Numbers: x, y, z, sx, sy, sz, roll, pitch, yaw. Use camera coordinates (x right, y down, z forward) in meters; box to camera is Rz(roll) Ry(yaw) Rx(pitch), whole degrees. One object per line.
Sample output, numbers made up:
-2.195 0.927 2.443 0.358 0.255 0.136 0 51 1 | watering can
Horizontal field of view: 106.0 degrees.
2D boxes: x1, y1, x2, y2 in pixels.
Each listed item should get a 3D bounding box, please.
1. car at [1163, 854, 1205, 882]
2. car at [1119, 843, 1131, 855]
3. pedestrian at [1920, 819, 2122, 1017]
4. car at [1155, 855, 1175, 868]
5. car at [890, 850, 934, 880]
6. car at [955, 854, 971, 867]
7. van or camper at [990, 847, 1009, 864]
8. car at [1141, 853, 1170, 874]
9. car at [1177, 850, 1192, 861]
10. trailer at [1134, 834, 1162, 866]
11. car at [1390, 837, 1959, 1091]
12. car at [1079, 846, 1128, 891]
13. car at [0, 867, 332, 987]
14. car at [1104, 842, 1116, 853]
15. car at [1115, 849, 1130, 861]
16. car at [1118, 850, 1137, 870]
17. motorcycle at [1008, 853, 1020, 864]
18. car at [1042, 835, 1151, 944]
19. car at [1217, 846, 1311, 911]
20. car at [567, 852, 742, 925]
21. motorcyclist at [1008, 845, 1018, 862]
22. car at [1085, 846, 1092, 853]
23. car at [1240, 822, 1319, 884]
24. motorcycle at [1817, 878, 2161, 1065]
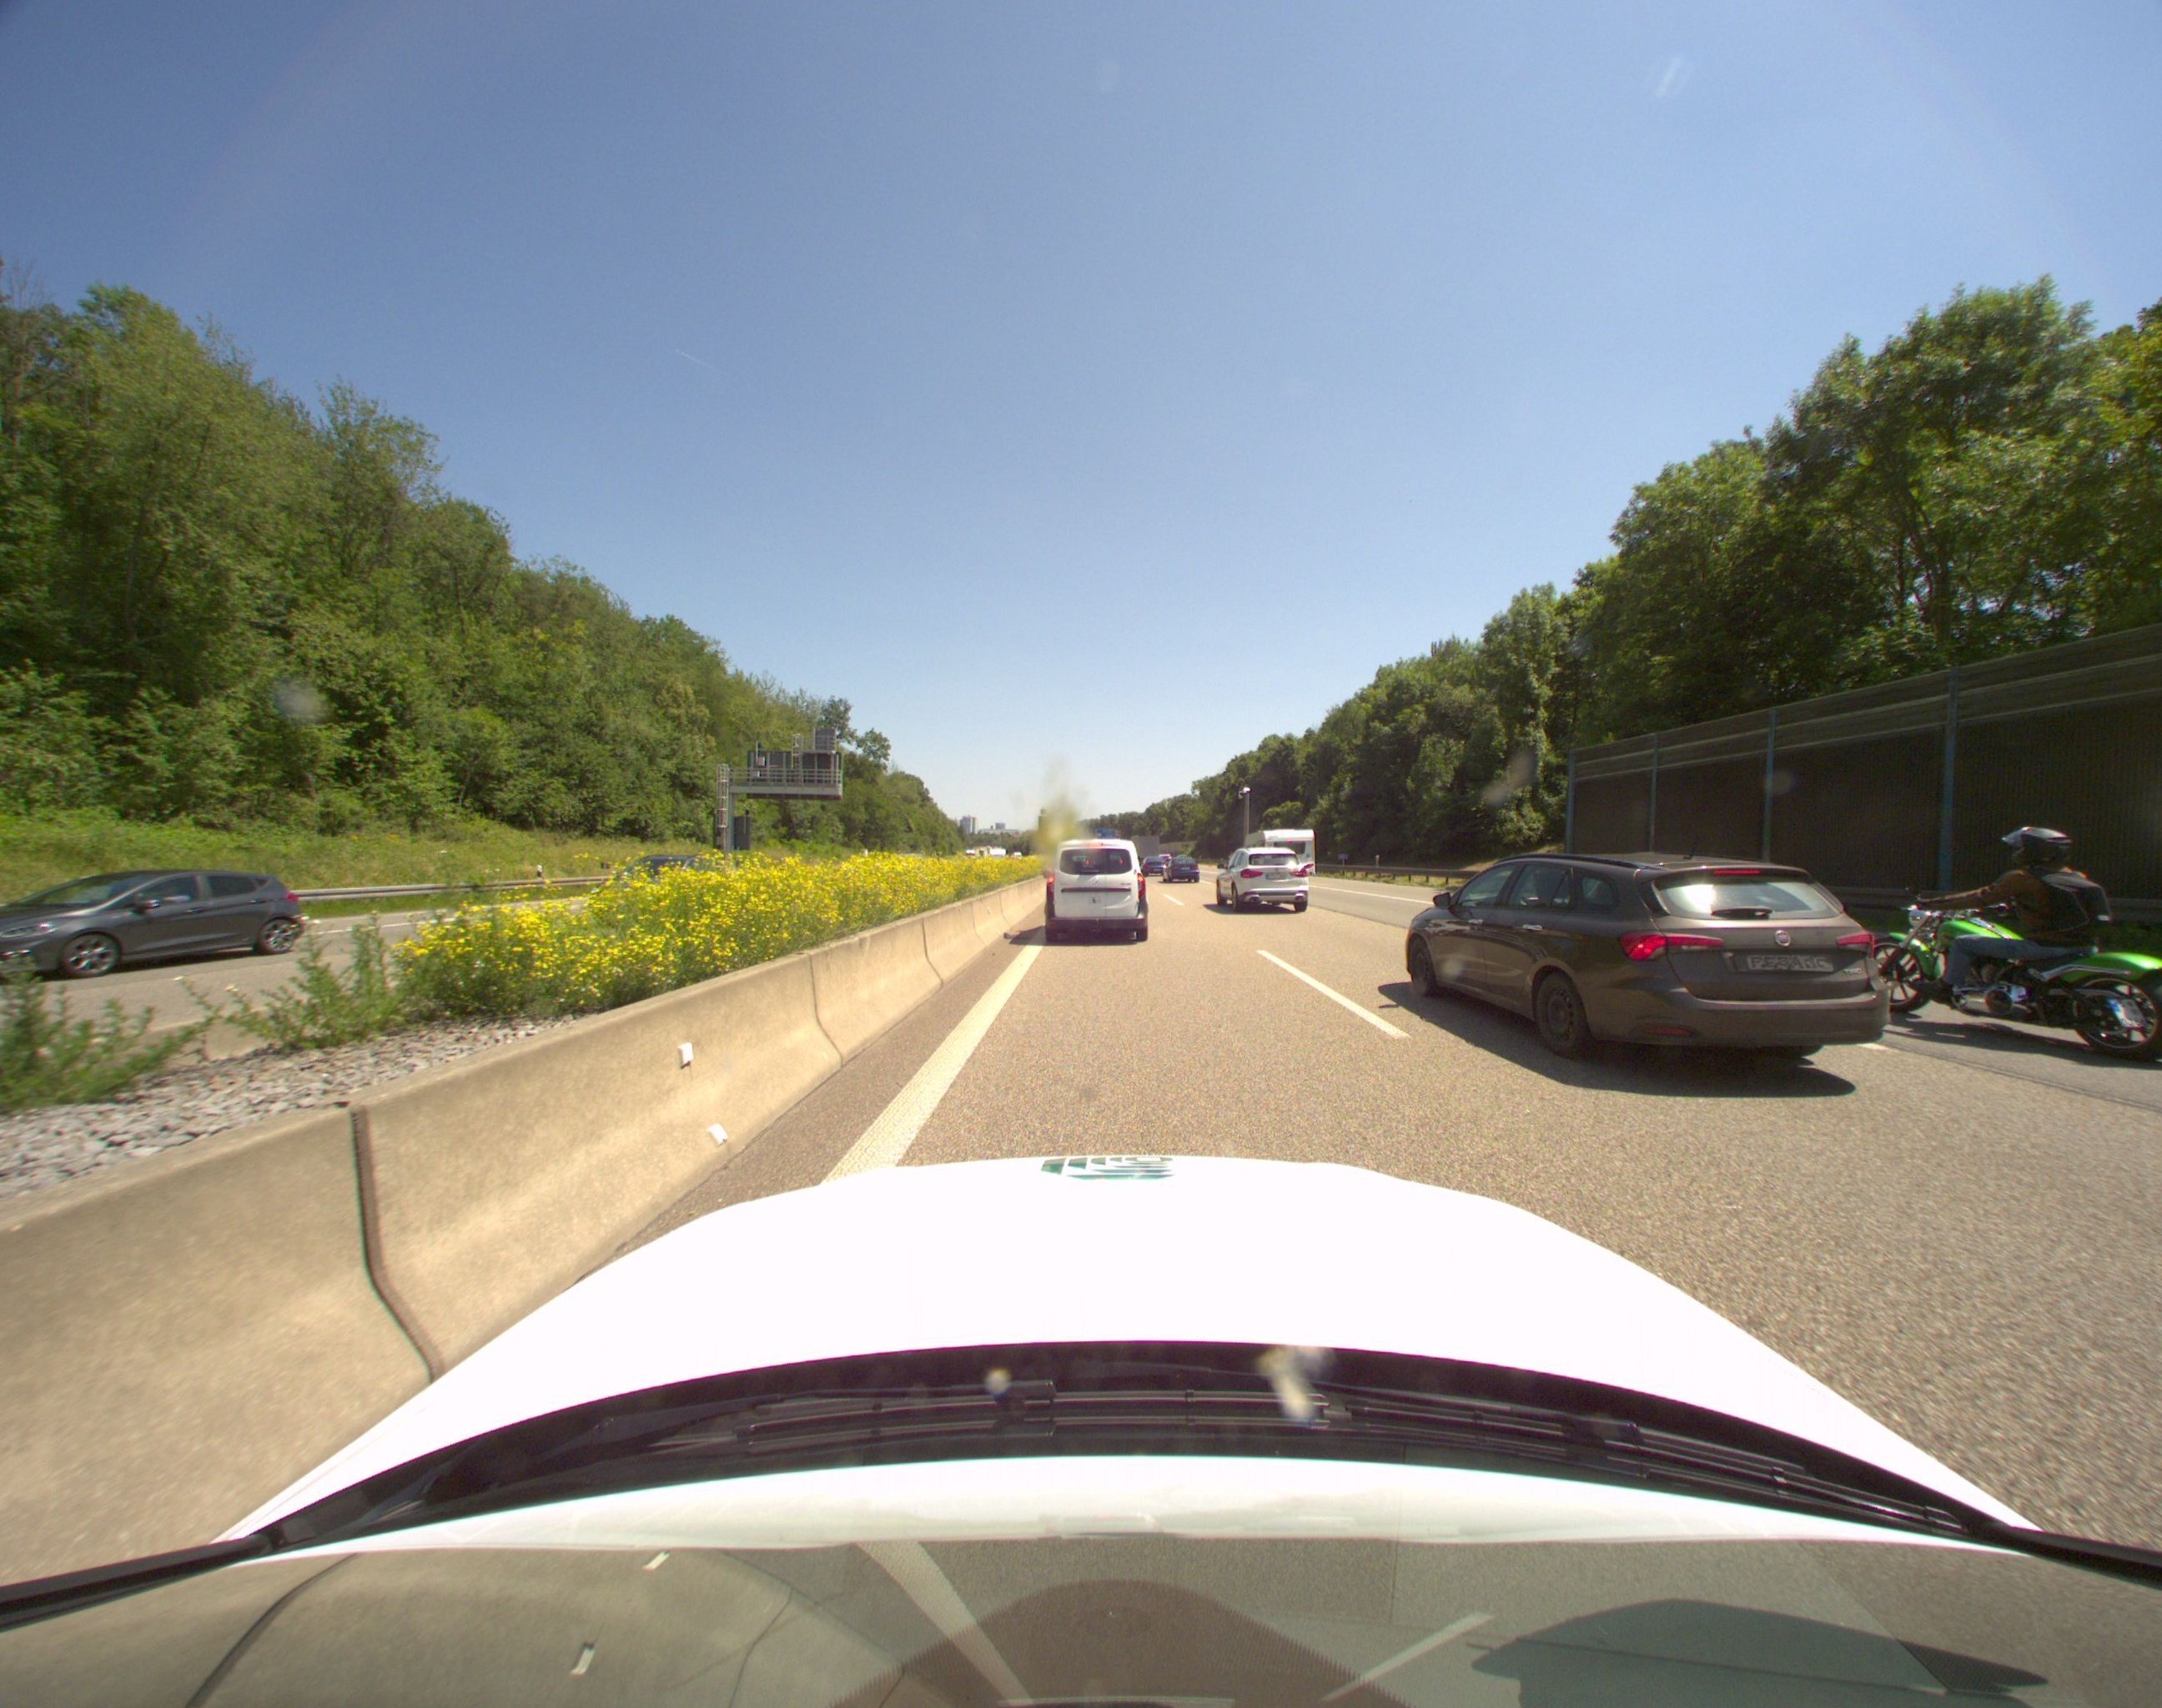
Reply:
5.539 0.710 44.199 1.817 1.424 4.001 -1 0 1 | car
7.672 -0.870 143.379 1.986 2.013 4.001 -1 0 1 | car
7.382 0.478 6.433 0.847 1.478 0.639 0 0 5 | pedestrian
9.176 0.785 89.506 1.817 1.424 4.001 -1 0 1 | car
-10.272 0.660 49.785 1.730 1.733 4.149 -1 0 1 | car
-16.288 0.924 112.383 1.751 1.696 4.418 -1 0 -2 | car
-12.829 0.224 128.381 2.301 2.636 7.398 -1 0 0 | van or camper
5.330 0.691 58.719 1.817 1.424 4.001 -1 0 1 | car
15.007 0.153 117.883 1.781 1.519 4.001 -1 0 1 | car
8.789 -0.523 108.024 3.071 3.985 10.325 -1 0 1 | trailer
4.378 0.639 7.069 1.831 1.513 4.403 0 1 1 | car
0.960 0.602 35.727 1.986 1.860 4.001 -1 0 1 | car
-14.269 0.975 12.373 1.986 1.444 4.008 -1 0 2 | car
5.746 -1.224 160.403 1.989 2.013 3.996 -1 0 -3 | car
5.380 0.136 105.002 1.817 1.447 4.001 -1 0 1 | car
4.864 0.630 85.074 1.817 1.989 4.001 -1 0 1 | car
-7.524 0.507 91.323 1.036 1.215 2.614 -1 0 1 | motorcycle
0.274 0.596 15.641 1.796 1.808 4.000 -1 0 0 | car
4.886 0.603 22.204 1.863 1.608 3.882 0 0 3 | car
-10.105 0.742 19.726 1.986 1.572 4.066 -1 0 2 | car
-7.597 -0.055 91.275 1.028 1.786 1.284 -1 0 1 | motorcyclist
2.222 -1.381 232.572 1.986 2.013 4.001 -1 0 1 | car
9.601 -0.054 40.059 2.470 2.766 6.221 -1 0 1 | car
7.412 0.833 6.680 0.855 1.181 2.280 0 1 5 | motorcycle
